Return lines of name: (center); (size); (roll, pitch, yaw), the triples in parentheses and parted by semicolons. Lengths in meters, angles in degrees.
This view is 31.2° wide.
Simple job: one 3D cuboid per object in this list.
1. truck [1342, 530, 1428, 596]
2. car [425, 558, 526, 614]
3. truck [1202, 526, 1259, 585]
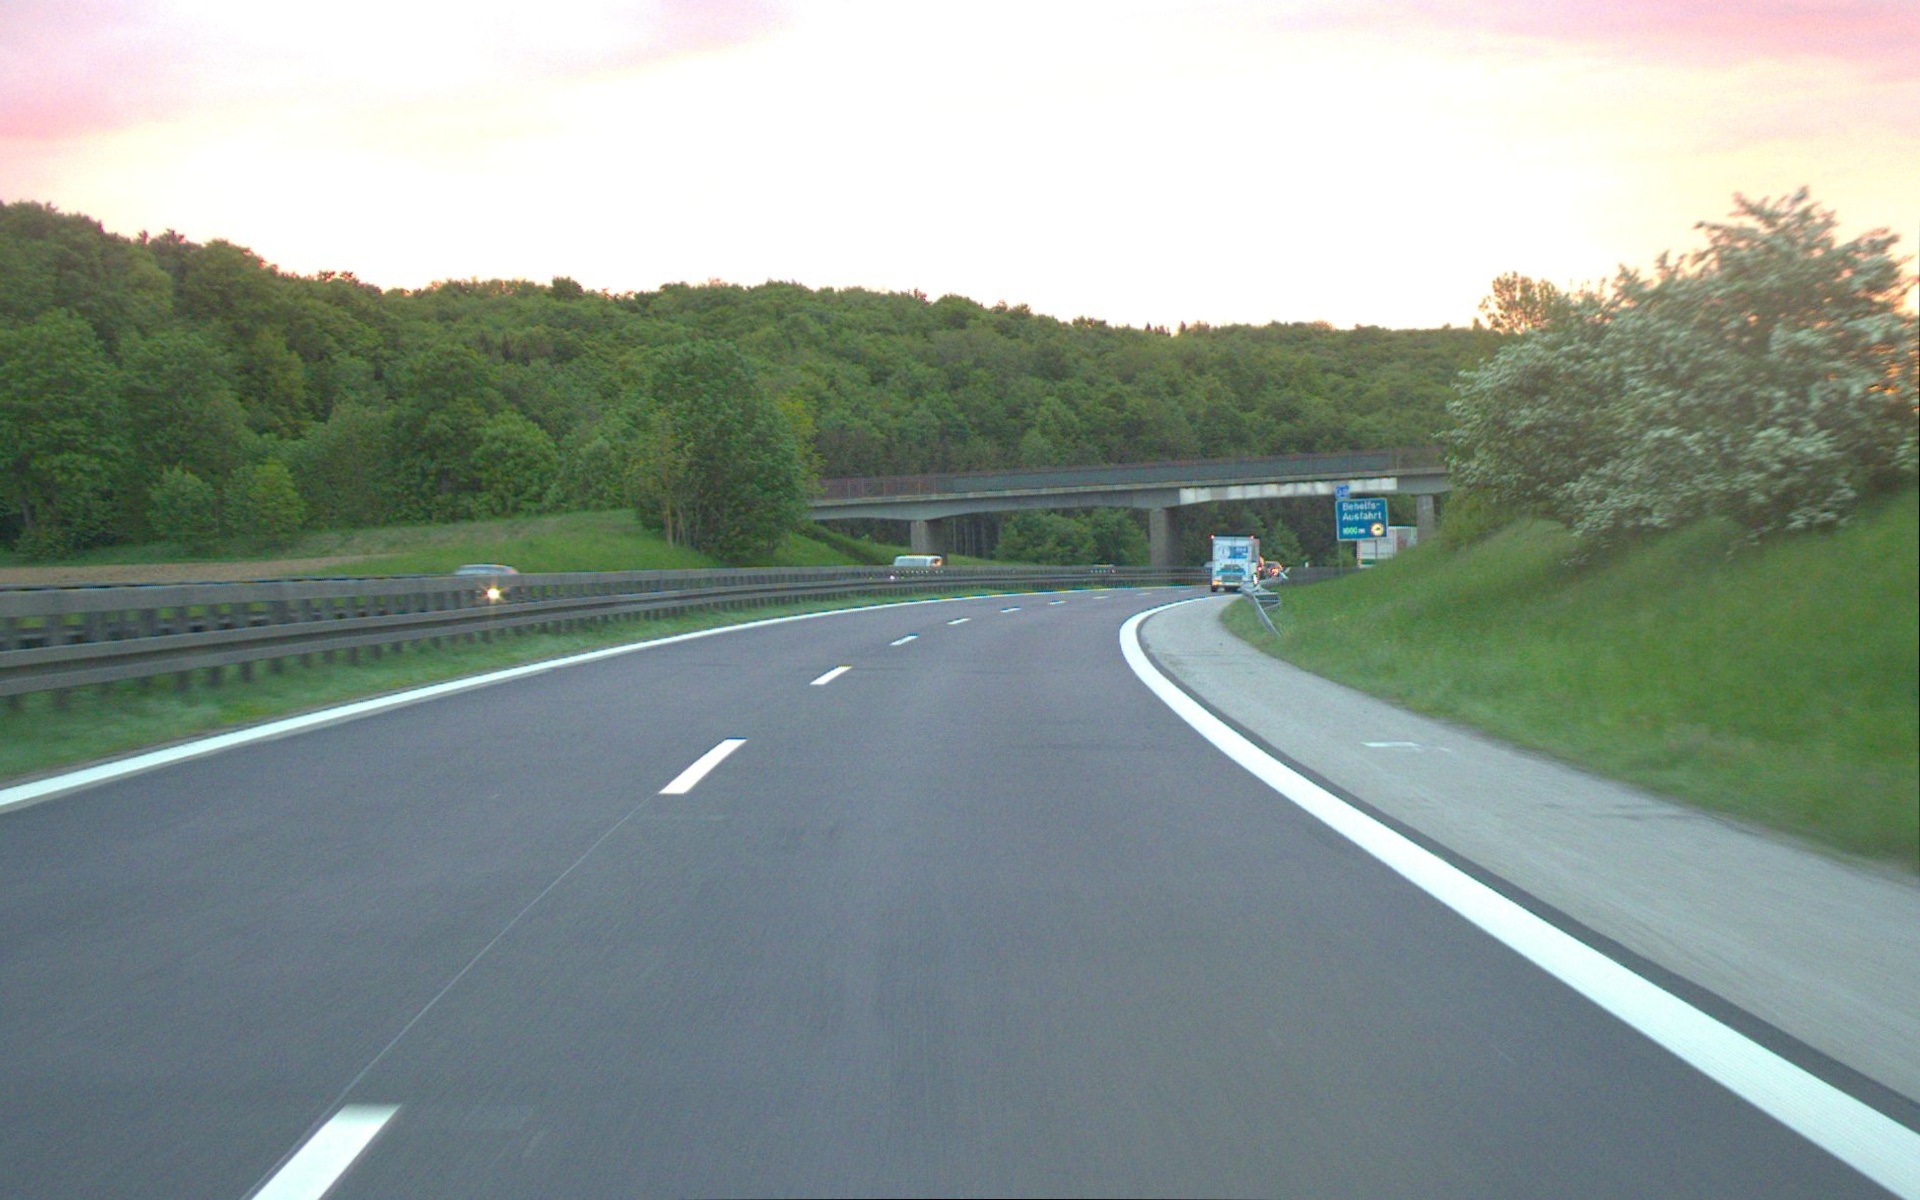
truck: (28.822, -2.504, 232.653); (3.960, 4.272, 14.314); (0, 1, 14)
car: (-12.782, -0.391, 90.888); (1.639, 1.283, 3.950); (-3, 1, 7)
truck: (12.976, -2.161, 164.875); (2.277, 2.656, 5.234); (-1, 1, 9)
